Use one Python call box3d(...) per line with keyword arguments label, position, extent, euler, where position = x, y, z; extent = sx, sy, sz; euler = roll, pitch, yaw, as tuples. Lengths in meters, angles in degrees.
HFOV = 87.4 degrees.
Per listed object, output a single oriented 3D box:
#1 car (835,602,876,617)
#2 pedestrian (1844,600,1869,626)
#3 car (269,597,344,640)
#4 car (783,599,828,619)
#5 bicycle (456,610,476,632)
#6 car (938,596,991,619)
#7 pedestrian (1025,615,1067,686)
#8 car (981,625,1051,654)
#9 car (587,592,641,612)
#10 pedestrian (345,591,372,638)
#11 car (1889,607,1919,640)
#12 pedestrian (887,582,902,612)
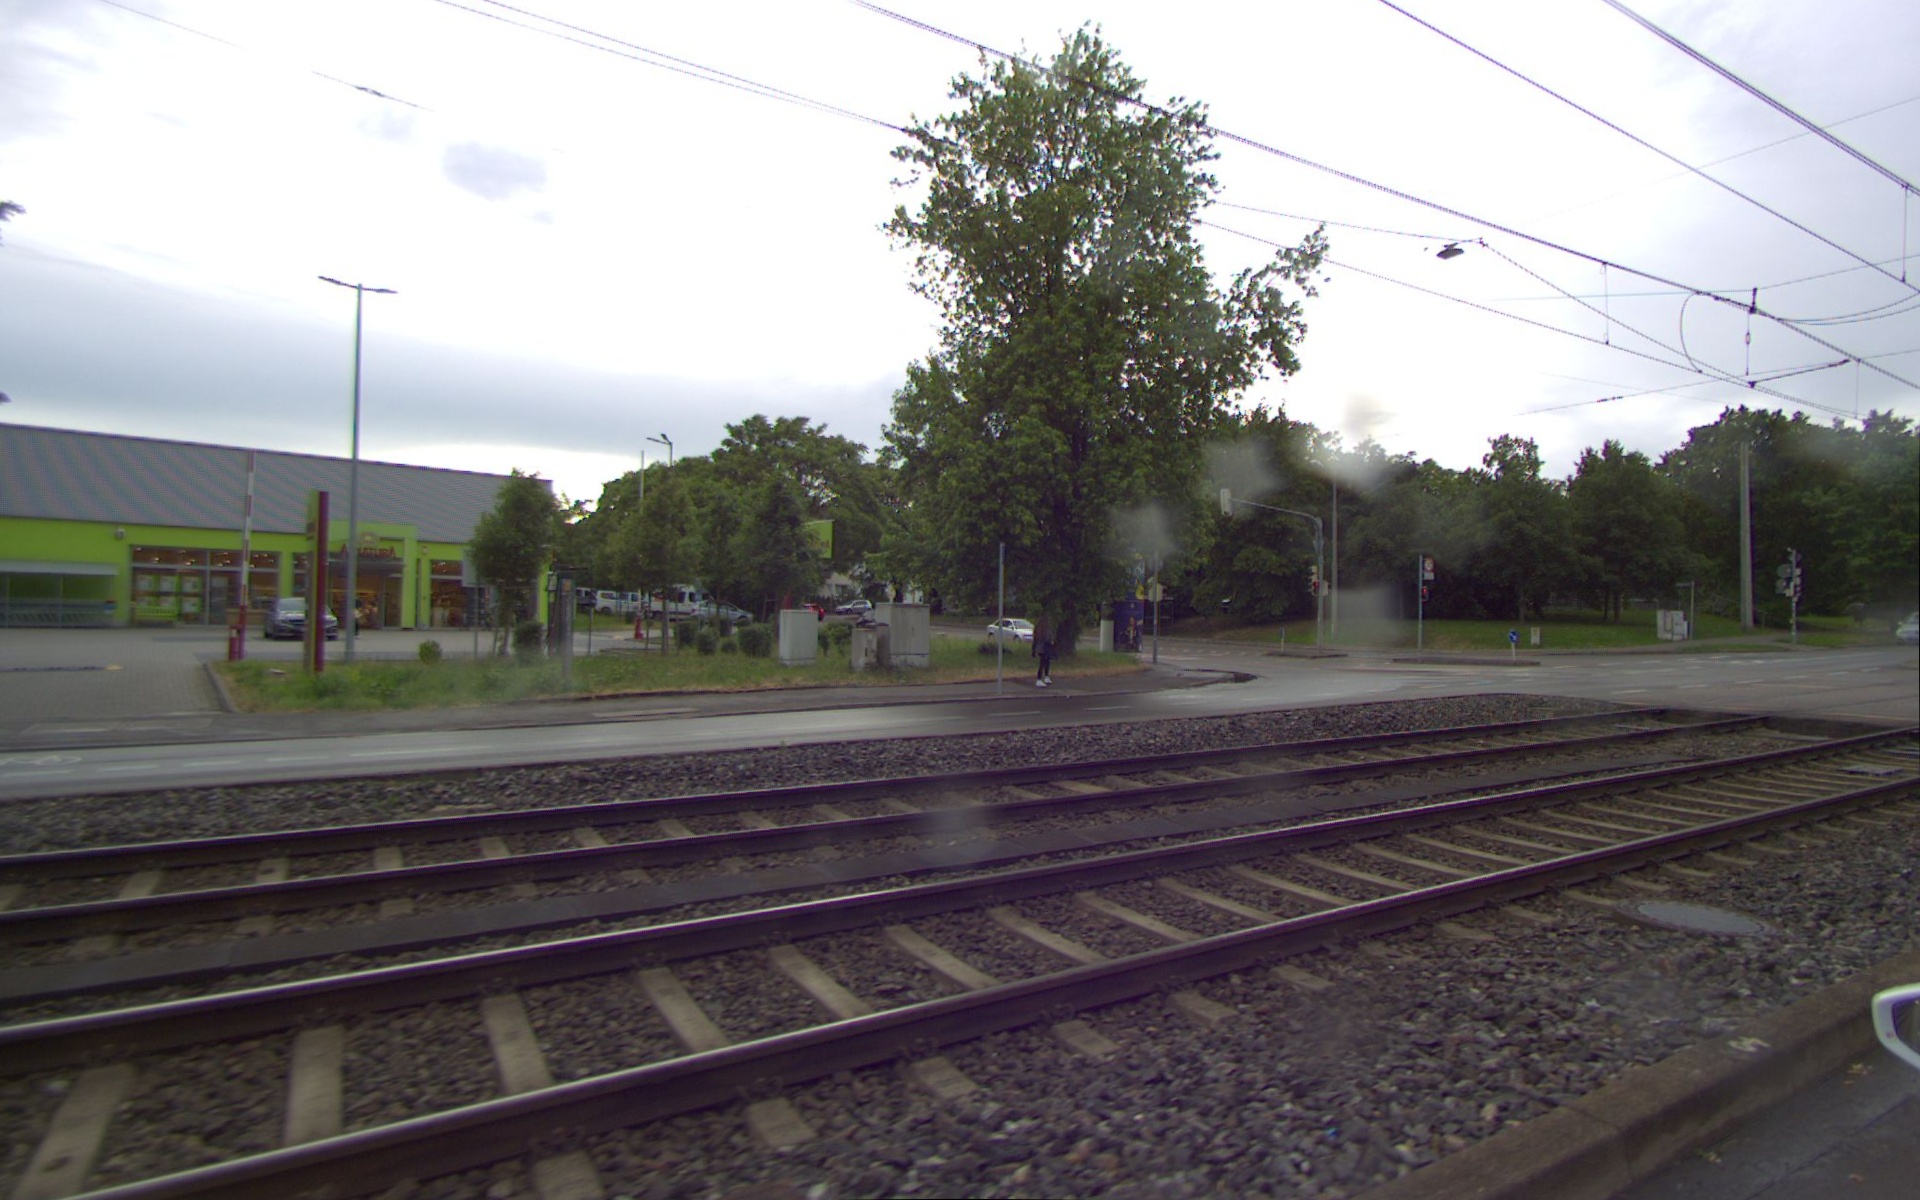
box3d(label="car", position=(-10.617, 0.960, 102.430), extent=(3.969, 1.442, 1.683), euler=(0, 0, -42))
box3d(label="pedestrian", position=(55.665, 0.804, 62.356), extent=(1.030, 1.622, 1.005), euler=(1, 0, -38))
box3d(label="car", position=(-22.186, 0.606, 34.037), extent=(1.760, 1.363, 4.331), euler=(2, -1, -38))
box3d(label="car", position=(-13.236, 0.770, 85.886), extent=(1.829, 1.554, 4.150), euler=(2, 0, -42))
box3d(label="bicycle", position=(-23.795, 1.006, 48.370), extent=(0.529, 0.995, 1.597), euler=(1, 0, -38))
box3d(label="car", position=(0.395, 0.640, 88.123), extent=(1.981, 1.829, 5.094), euler=(3, -1, -36))
box3d(label="pedestrian", position=(1.937, 1.148, 22.758), extent=(0.661, 1.552, 0.588), euler=(3, 0, -32))
box3d(label="car", position=(2.881, 2.078, 52.582), extent=(1.572, 1.456, 4.394), euler=(1, -2, -29))
box3d(label="car", position=(-26.687, 0.166, 77.504), extent=(3.663, 1.502, 1.582), euler=(0, -1, -4))
box3d(label="pedestrian", position=(-21.354, 0.521, 35.668), extent=(0.750, 1.618, 0.797), euler=(3, 0, -30))
box3d(label="car", position=(47.205, 1.117, 49.098), extent=(3.821, 1.574, 1.710), euler=(0, -3, -33))
box3d(label="pedestrian", position=(-3.664, -0.162, 56.348), extent=(0.598, 1.623, 0.673), euler=(3, 0, -25))
